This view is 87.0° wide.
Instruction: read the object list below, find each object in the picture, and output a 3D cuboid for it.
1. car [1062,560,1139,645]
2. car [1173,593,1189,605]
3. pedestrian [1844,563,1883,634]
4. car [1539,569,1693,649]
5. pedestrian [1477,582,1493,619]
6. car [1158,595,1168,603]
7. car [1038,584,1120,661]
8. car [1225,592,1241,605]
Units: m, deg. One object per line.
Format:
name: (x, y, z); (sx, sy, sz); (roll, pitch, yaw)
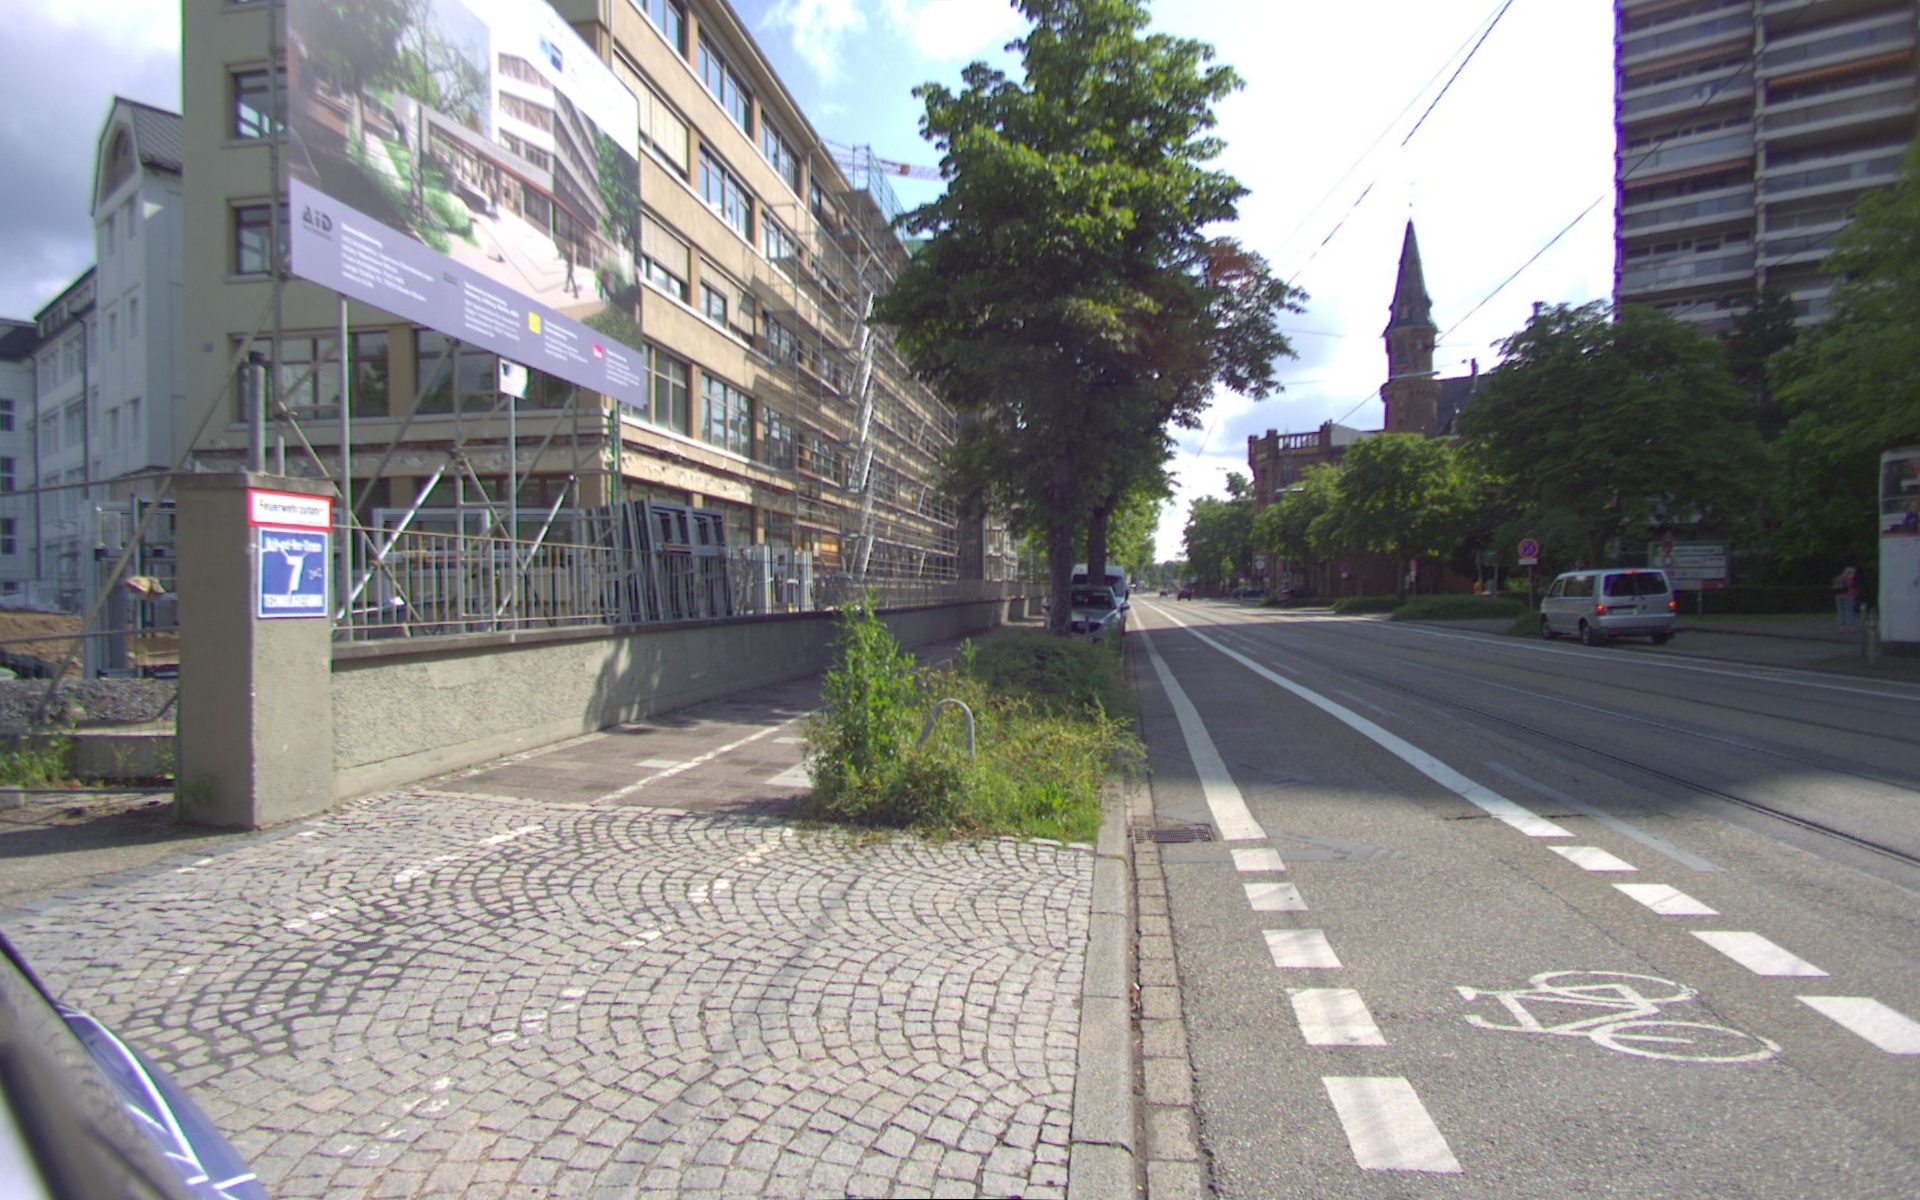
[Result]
car: (4.894, 0.068, 35.073); (2.312, 2.579, 5.376); (-3, 0, 9)
car: (31.416, -0.141, 143.769); (1.871, 1.656, 4.226); (-1, 0, 8)
pedestrian: (23.087, -0.056, 25.860); (0.521, 1.767, 0.631); (-2, 2, 19)
car: (17.309, 0.197, 26.974); (1.873, 1.865, 4.222); (-3, 0, 11)
pedestrian: (25.658, 0.016, 49.451); (0.457, 1.767, 0.533); (-3, 2, 4)
car: (45.388, -0.262, 226.040); (1.871, 1.656, 4.226); (-1, 0, 8)
car: (2.954, 0.487, 24.620); (1.731, 1.618, 4.225); (-3, 0, 9)
car: (36.329, -0.181, 134.525); (1.612, 1.585, 3.940); (3, 1, 10)
